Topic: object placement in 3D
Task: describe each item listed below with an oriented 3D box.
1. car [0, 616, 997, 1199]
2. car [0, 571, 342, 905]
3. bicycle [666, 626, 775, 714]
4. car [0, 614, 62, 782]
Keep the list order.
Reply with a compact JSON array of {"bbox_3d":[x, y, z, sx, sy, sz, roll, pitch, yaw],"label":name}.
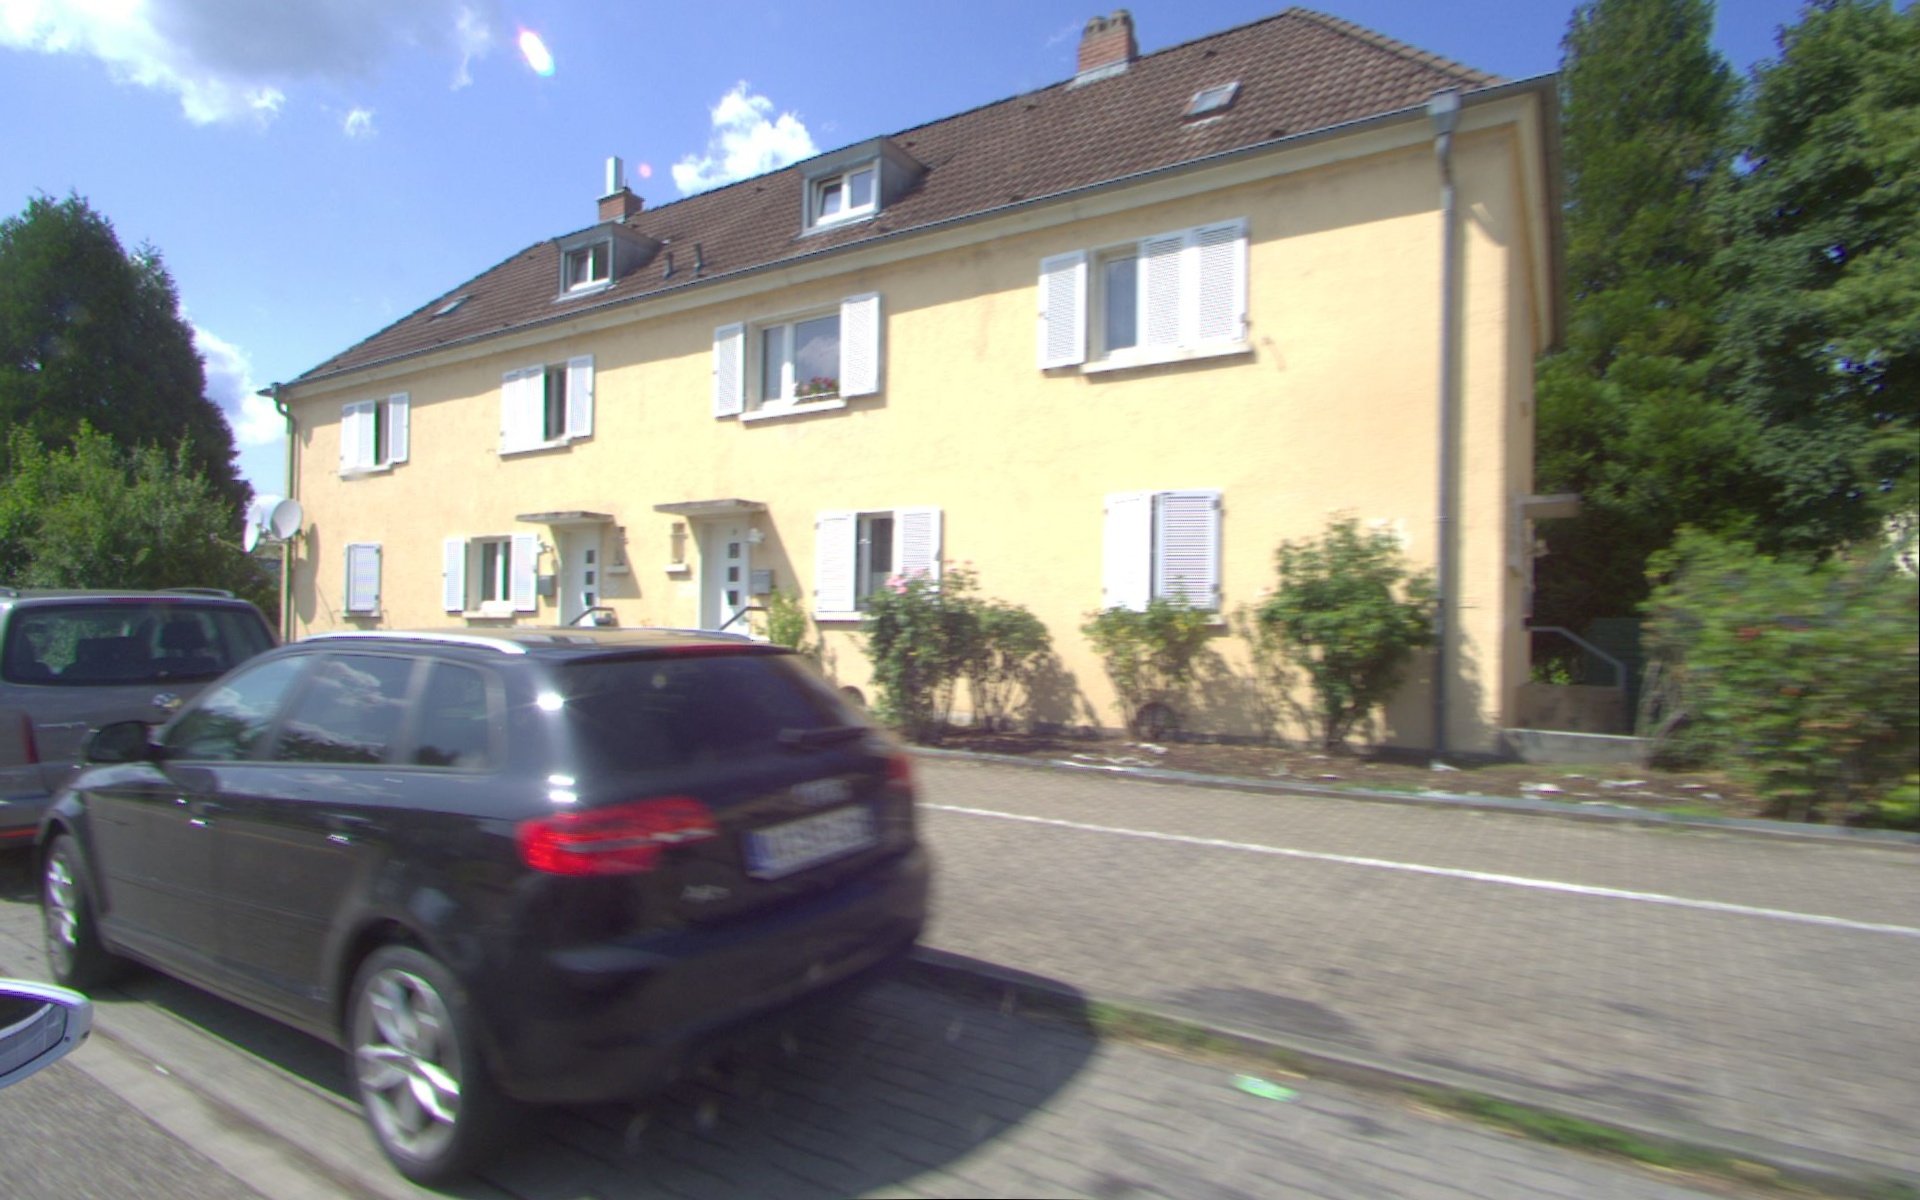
[{"bbox_3d":[-2.187,0.825,4.045,4.452,1.455,1.682,-1,-2,33],"label":"car"},{"bbox_3d":[-6.137,0.718,6.738,4.209,1.651,1.676,0,-1,32],"label":"car"},{"bbox_3d":[-3.205,0.934,13.546,0.286,1.116,1.687,1,-3,32],"label":"bicycle"},{"bbox_3d":[-10.101,0.841,9.305,3.969,1.436,1.646,0,-1,33],"label":"car"}]
